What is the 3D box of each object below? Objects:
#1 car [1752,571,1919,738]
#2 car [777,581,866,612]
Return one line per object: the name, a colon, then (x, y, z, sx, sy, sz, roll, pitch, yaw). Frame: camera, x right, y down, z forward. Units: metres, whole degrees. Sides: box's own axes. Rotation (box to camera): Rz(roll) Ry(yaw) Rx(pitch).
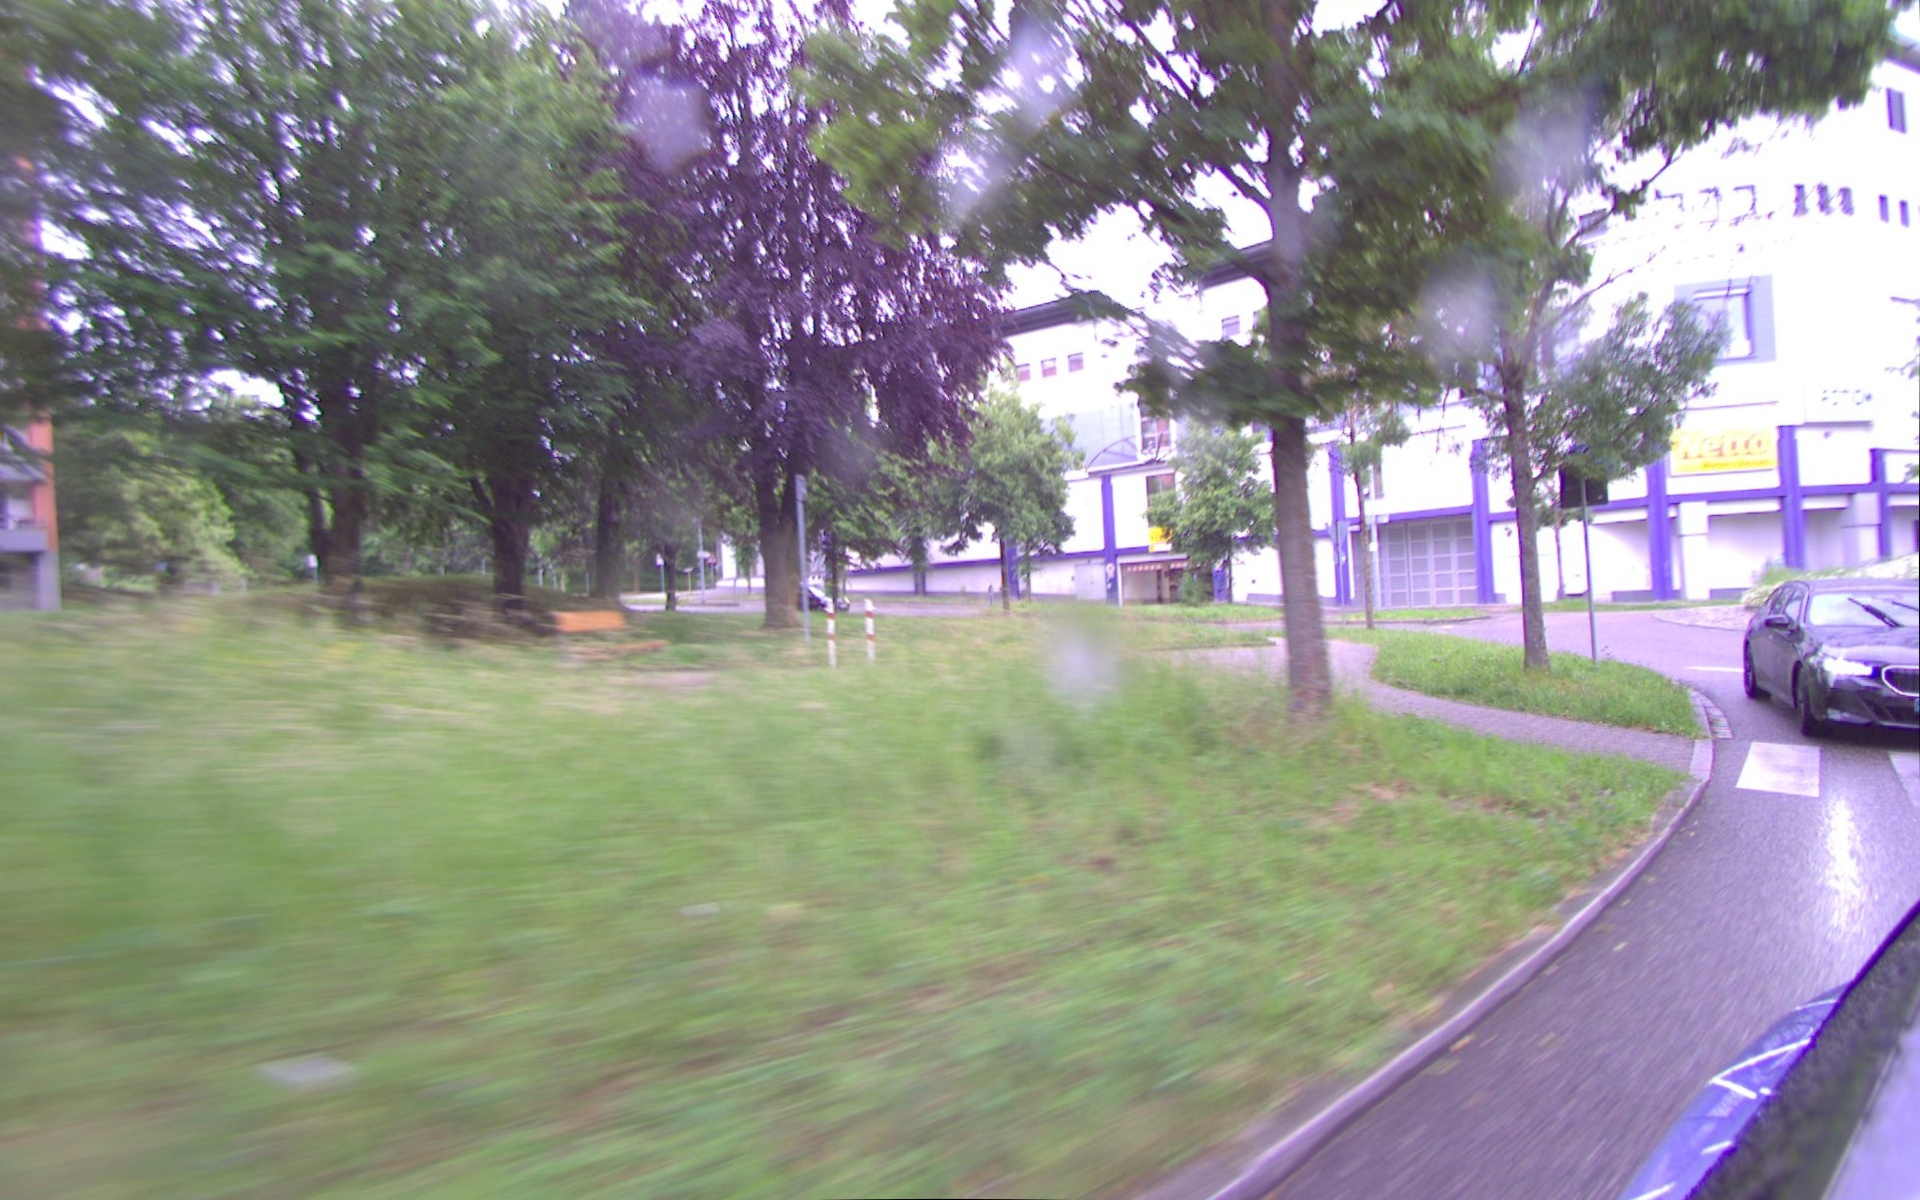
car: (9.948, 0.460, 10.859, 1.832, 1.498, 3.956, -1, 1, 32)
car: (-6.615, -0.184, 48.266, 3.963, 1.427, 1.782, 0, 1, 29)
